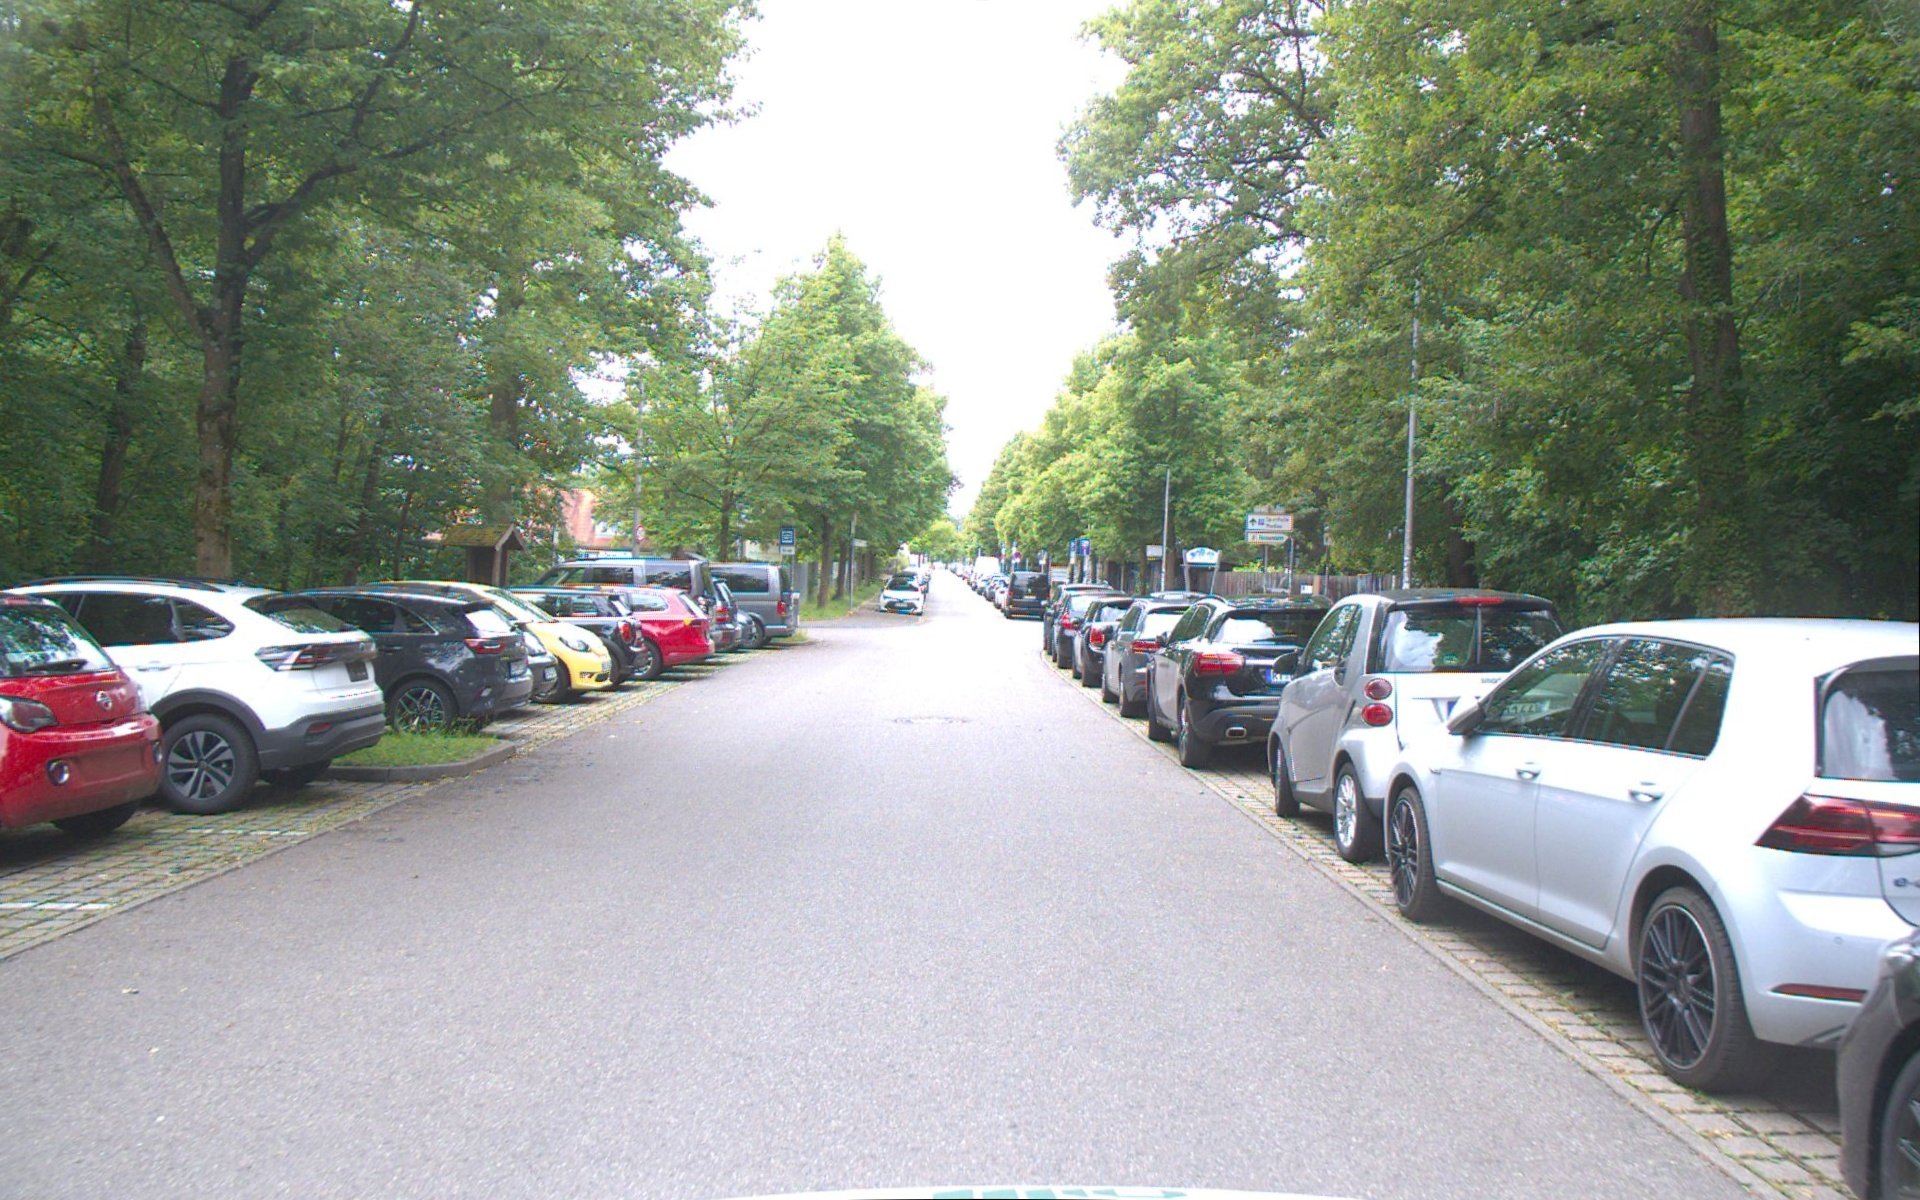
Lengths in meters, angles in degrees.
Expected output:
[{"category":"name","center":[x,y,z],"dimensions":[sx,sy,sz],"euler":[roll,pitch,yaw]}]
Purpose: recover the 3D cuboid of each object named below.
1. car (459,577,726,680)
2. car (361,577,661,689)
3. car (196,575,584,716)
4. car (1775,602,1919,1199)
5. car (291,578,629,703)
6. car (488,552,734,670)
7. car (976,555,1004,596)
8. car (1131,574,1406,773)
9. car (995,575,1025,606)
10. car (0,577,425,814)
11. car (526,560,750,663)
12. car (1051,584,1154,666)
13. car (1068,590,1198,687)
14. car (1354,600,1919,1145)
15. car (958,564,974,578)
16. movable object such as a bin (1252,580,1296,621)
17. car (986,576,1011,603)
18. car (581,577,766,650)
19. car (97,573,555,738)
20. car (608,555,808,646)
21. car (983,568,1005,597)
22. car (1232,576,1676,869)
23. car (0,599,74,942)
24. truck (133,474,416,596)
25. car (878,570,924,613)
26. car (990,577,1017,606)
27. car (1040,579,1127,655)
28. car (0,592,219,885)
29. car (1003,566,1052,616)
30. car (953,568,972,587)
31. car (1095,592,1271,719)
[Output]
[{"category":"car","center":[-5.865,0.437,26.756],"dimensions":[3.907,1.501,1.779],"euler":[2,1,-3]},{"category":"car","center":[-6.456,0.460,24.112],"dimensions":[3.907,1.463,1.671],"euler":[2,1,-3]},{"category":"car","center":[-6.586,0.495,19.400],"dimensions":[3.906,1.463,1.733],"euler":[2,1,-1]},{"category":"car","center":[2.965,0.793,1.851],"dimensions":[1.701,1.500,4.604],"euler":[1,0,-2]},{"category":"car","center":[-6.478,0.502,21.724],"dimensions":[3.906,1.463,1.618],"euler":[2,1,-1]},{"category":"car","center":[-6.086,0.185,29.152],"dimensions":[3.906,1.895,1.813],"euler":[2,1,-1]},{"category":"car","center":[2.327,-1.911,128.586],"dimensions":[2.139,3.068,4.898],"euler":[1,1,1]},{"category":"car","center":[2.776,0.588,15.848],"dimensions":[1.701,1.616,4.381],"euler":[1,0,-1]},{"category":"car","center":[2.551,-0.504,84.743],"dimensions":[1.439,1.507,3.189],"euler":[1,1,1]},{"category":"car","center":[-6.051,0.614,11.749],"dimensions":[3.906,1.493,1.714],"euler":[1,1,-1]},{"category":"car","center":[-6.084,0.200,31.589],"dimensions":[3.907,1.796,1.823],"euler":[2,1,-2]},{"category":"car","center":[2.810,0.459,33.378],"dimensions":[1.700,1.521,4.234],"euler":[1,0,0]},{"category":"car","center":[2.816,0.576,27.820],"dimensions":[1.700,1.457,4.502],"euler":[1,0,0]},{"category":"car","center":[3.057,0.760,6.652],"dimensions":[1.702,1.450,4.151],"euler":[1,0,-4]},{"category":"car","center":[0.846,-3.912,222.007],"dimensions":[1.858,1.736,4.065],"euler":[1,0,3]},{"category":"movable object such as a bin","center":[11.634,0.024,61.241],"dimensions":[1.276,1.468,1.061],"euler":[1,-1,-44]},{"category":"car","center":[2.288,-0.641,98.939],"dimensions":[1.439,1.558,3.189],"euler":[1,1,1]},{"category":"car","center":[-6.334,0.278,36.831],"dimensions":[3.735,1.539,1.810],"euler":[0,1,2]},{"category":"car","center":[-6.273,0.519,16.677],"dimensions":[3.906,1.463,1.715],"euler":[2,1,-1]},{"category":"car","center":[-5.870,0.019,38.971],"dimensions":[4.411,2.013,1.890],"euler":[1,0,-2]},{"category":"car","center":[2.353,-1.222,115.574],"dimensions":[1.439,2.002,3.189],"euler":[1,1,1]},{"category":"car","center":[3.064,0.661,11.150],"dimensions":[1.701,1.595,4.007],"euler":[1,0,-1]},{"category":"car","center":[-6.061,0.694,6.799],"dimensions":[3.905,1.460,1.678],"euler":[1,1,1]},{"category":"truck","center":[-20.153,-1.849,49.097],"dimensions":[7.118,3.292,3.431],"euler":[1,0,-11]},{"category":"car","center":[-2.472,-0.365,68.038],"dimensions":[1.730,1.623,4.214],"euler":[4,1,-3]},{"category":"car","center":[2.368,-0.481,90.255],"dimensions":[1.439,1.558,3.189],"euler":[1,1,1]},{"category":"car","center":[2.862,0.355,39.131],"dimensions":[1.700,1.662,4.375],"euler":[1,0,0]},{"category":"car","center":[-6.558,0.675,9.385],"dimensions":[3.905,1.460,1.702],"euler":[1,1,1]},{"category":"car","center":[2.854,-0.407,70.749],"dimensions":[1.947,2.049,4.108],"euler":[1,1,1]},{"category":"car","center":[0.337,-2.542,188.728],"dimensions":[1.952,2.049,4.001],"euler":[1,0,3]},{"category":"car","center":[2.817,0.644,21.759],"dimensions":[1.700,1.457,4.502],"euler":[1,0,0]}]
